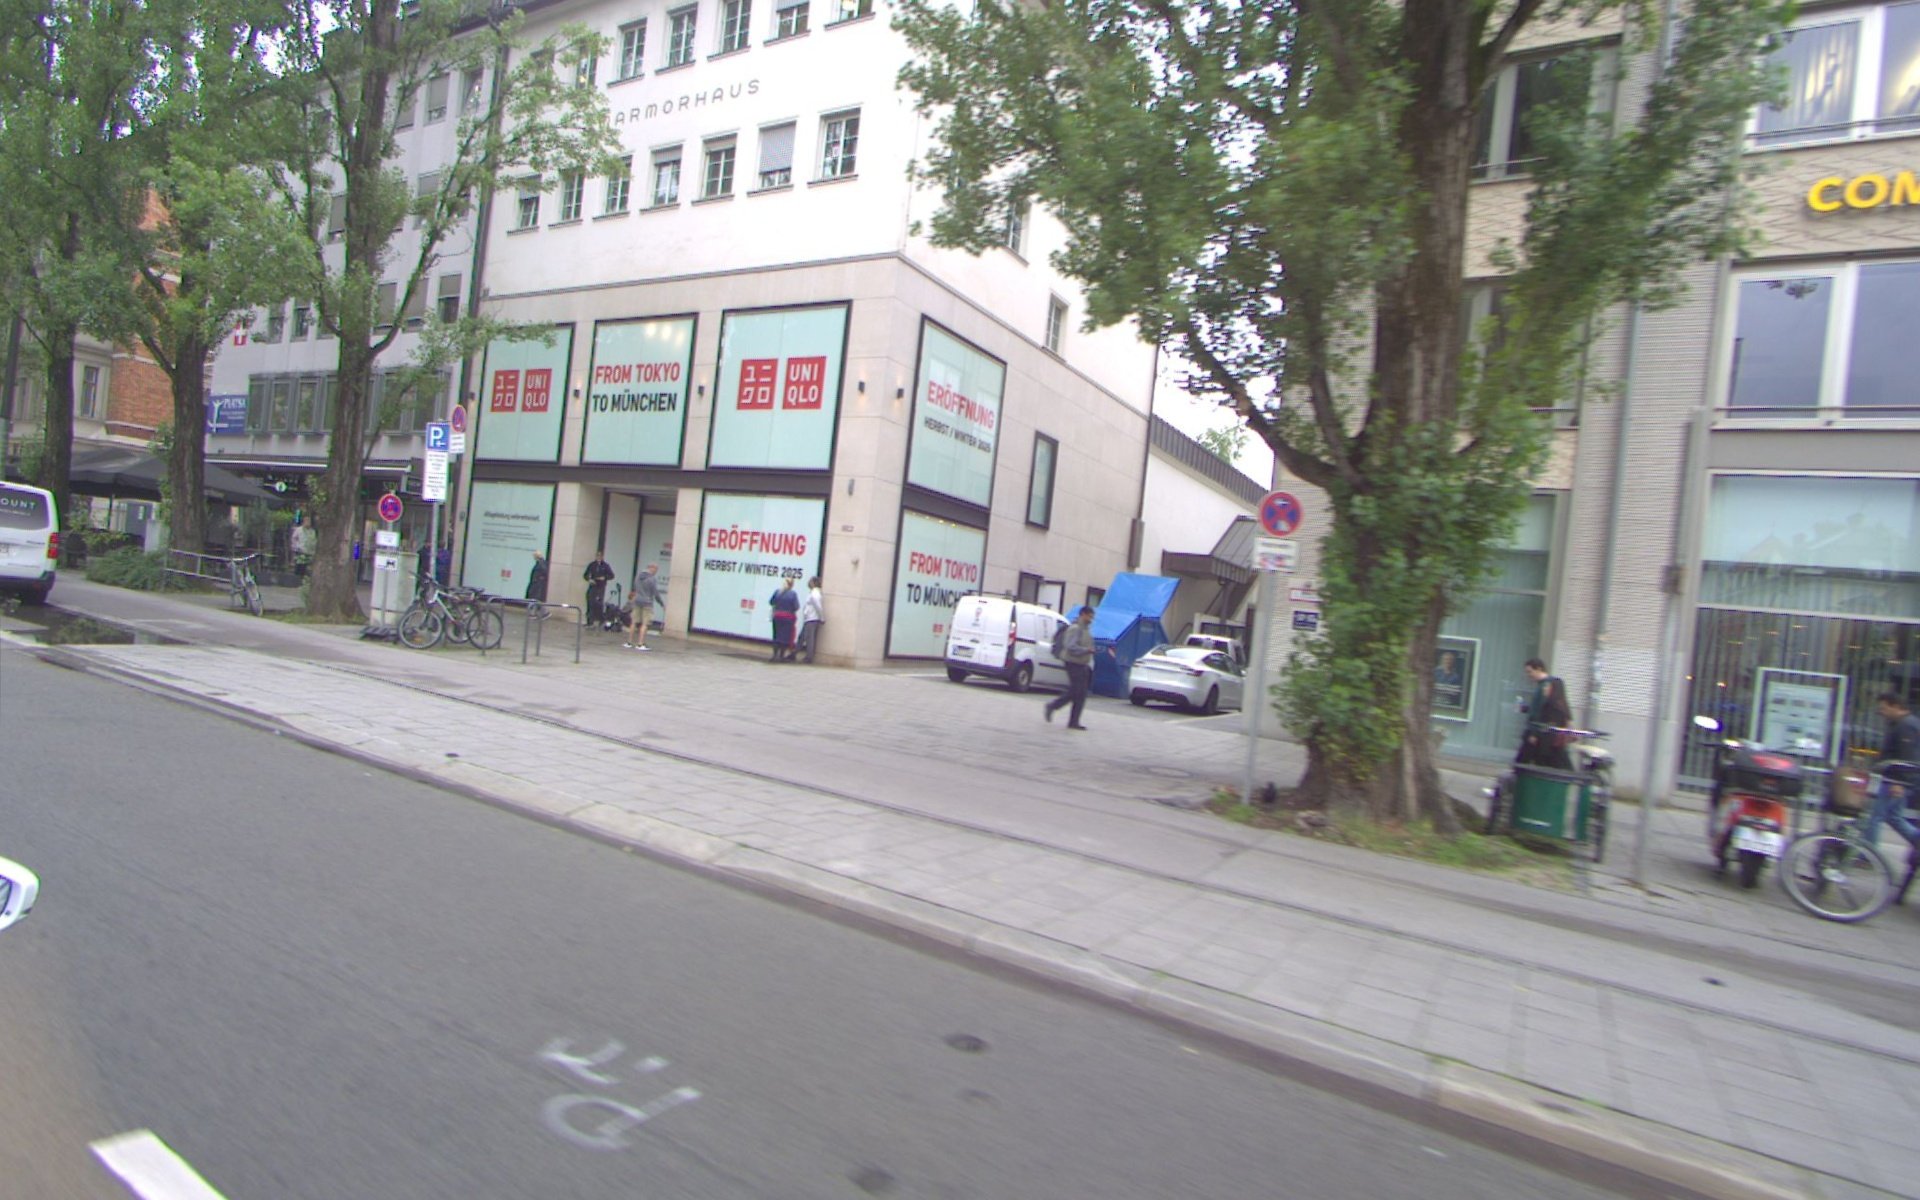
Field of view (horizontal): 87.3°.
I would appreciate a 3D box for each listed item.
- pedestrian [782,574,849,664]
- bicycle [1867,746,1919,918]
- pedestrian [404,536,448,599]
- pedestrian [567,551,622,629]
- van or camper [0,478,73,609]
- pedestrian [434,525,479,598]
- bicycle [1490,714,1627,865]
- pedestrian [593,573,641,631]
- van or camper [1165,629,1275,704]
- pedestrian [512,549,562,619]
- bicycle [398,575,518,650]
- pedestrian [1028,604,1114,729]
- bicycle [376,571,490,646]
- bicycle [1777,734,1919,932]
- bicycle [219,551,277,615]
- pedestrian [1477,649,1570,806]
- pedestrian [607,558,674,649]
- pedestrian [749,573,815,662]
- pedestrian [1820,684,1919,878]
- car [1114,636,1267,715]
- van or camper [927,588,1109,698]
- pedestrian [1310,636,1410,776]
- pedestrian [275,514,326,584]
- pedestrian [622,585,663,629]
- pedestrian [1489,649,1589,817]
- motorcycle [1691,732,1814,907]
[{"bbox_3d":[-3.030,0.403,21.059,0.947,1.739,0.751,7,0,31],"label":"pedestrian"},{"bbox_3d":[7.862,1.869,7.821,0.622,1.267,2.347,7,-1,31],"label":"bicycle"},{"bbox_3d":[-14.756,-0.892,27.803,0.760,1.628,0.670,6,-1,38],"label":"pedestrian"},{"bbox_3d":[-8.847,-0.229,24.348,0.851,1.786,0.684,7,0,11],"label":"pedestrian"},{"bbox_3d":[-16.595,-1.112,16.273,4.821,1.905,1.872,6,-1,31],"label":"van or camper"},{"bbox_3d":[-13.707,-1.037,27.395,0.863,1.851,0.829,7,0,-31],"label":"pedestrian"},{"bbox_3d":[5.400,1.632,9.124,0.860,1.029,2.151,7,-1,31],"label":"bicycle"},{"bbox_3d":[-8.100,0.054,23.753,0.673,1.249,0.670,7,1,33],"label":"pedestrian"},{"bbox_3d":[7.662,1.966,29.346,1.724,1.827,4.305,7,-1,32],"label":"van or camper"},{"bbox_3d":[-10.622,-0.392,25.255,0.815,1.629,0.671,7,0,31],"label":"pedestrian"},{"bbox_3d":[-7.953,0.226,16.033,0.475,1.057,1.763,7,0,21],"label":"bicycle"},{"bbox_3d":[1.617,0.964,14.696,0.914,1.687,0.560,7,1,33],"label":"pedestrian"},{"bbox_3d":[-8.530,0.126,16.358,0.440,1.126,1.741,7,3,21],"label":"bicycle"},{"bbox_3d":[6.893,1.744,7.880,0.442,1.254,1.726,7,0,32],"label":"bicycle"},{"bbox_3d":[-13.300,-0.332,18.772,1.705,1.050,0.364,7,0,39],"label":"bicycle"},{"bbox_3d":[6.937,1.541,12.371,0.845,1.779,0.750,5,-1,32],"label":"pedestrian"},{"bbox_3d":[-6.409,0.066,20.181,0.976,1.694,0.819,7,0,-30],"label":"pedestrian"},{"bbox_3d":[-3.601,0.362,20.388,0.947,1.683,0.652,7,0,32],"label":"pedestrian"},{"bbox_3d":[9.594,1.834,10.309,0.875,1.840,0.819,7,0,30],"label":"pedestrian"},{"bbox_3d":[5.308,1.726,22.745,1.869,1.404,4.303,7,-1,34],"label":"car"},{"bbox_3d":[1.343,0.985,21.563,1.868,1.888,4.109,6,-2,35],"label":"van or camper"},{"bbox_3d":[5.349,1.392,13.440,0.947,1.698,0.750,7,1,32],"label":"pedestrian"},{"bbox_3d":[-18.690,-1.445,28.508,1.084,1.864,0.825,7,0,42],"label":"pedestrian"},{"bbox_3d":[-7.675,0.174,24.332,0.661,0.981,0.571,7,0,32],"label":"pedestrian"},{"bbox_3d":[6.678,1.497,11.604,0.845,1.779,0.750,5,-1,32],"label":"pedestrian"},{"bbox_3d":[6.479,1.735,8.293,0.501,1.153,1.726,7,0,32],"label":"motorcycle"}]
